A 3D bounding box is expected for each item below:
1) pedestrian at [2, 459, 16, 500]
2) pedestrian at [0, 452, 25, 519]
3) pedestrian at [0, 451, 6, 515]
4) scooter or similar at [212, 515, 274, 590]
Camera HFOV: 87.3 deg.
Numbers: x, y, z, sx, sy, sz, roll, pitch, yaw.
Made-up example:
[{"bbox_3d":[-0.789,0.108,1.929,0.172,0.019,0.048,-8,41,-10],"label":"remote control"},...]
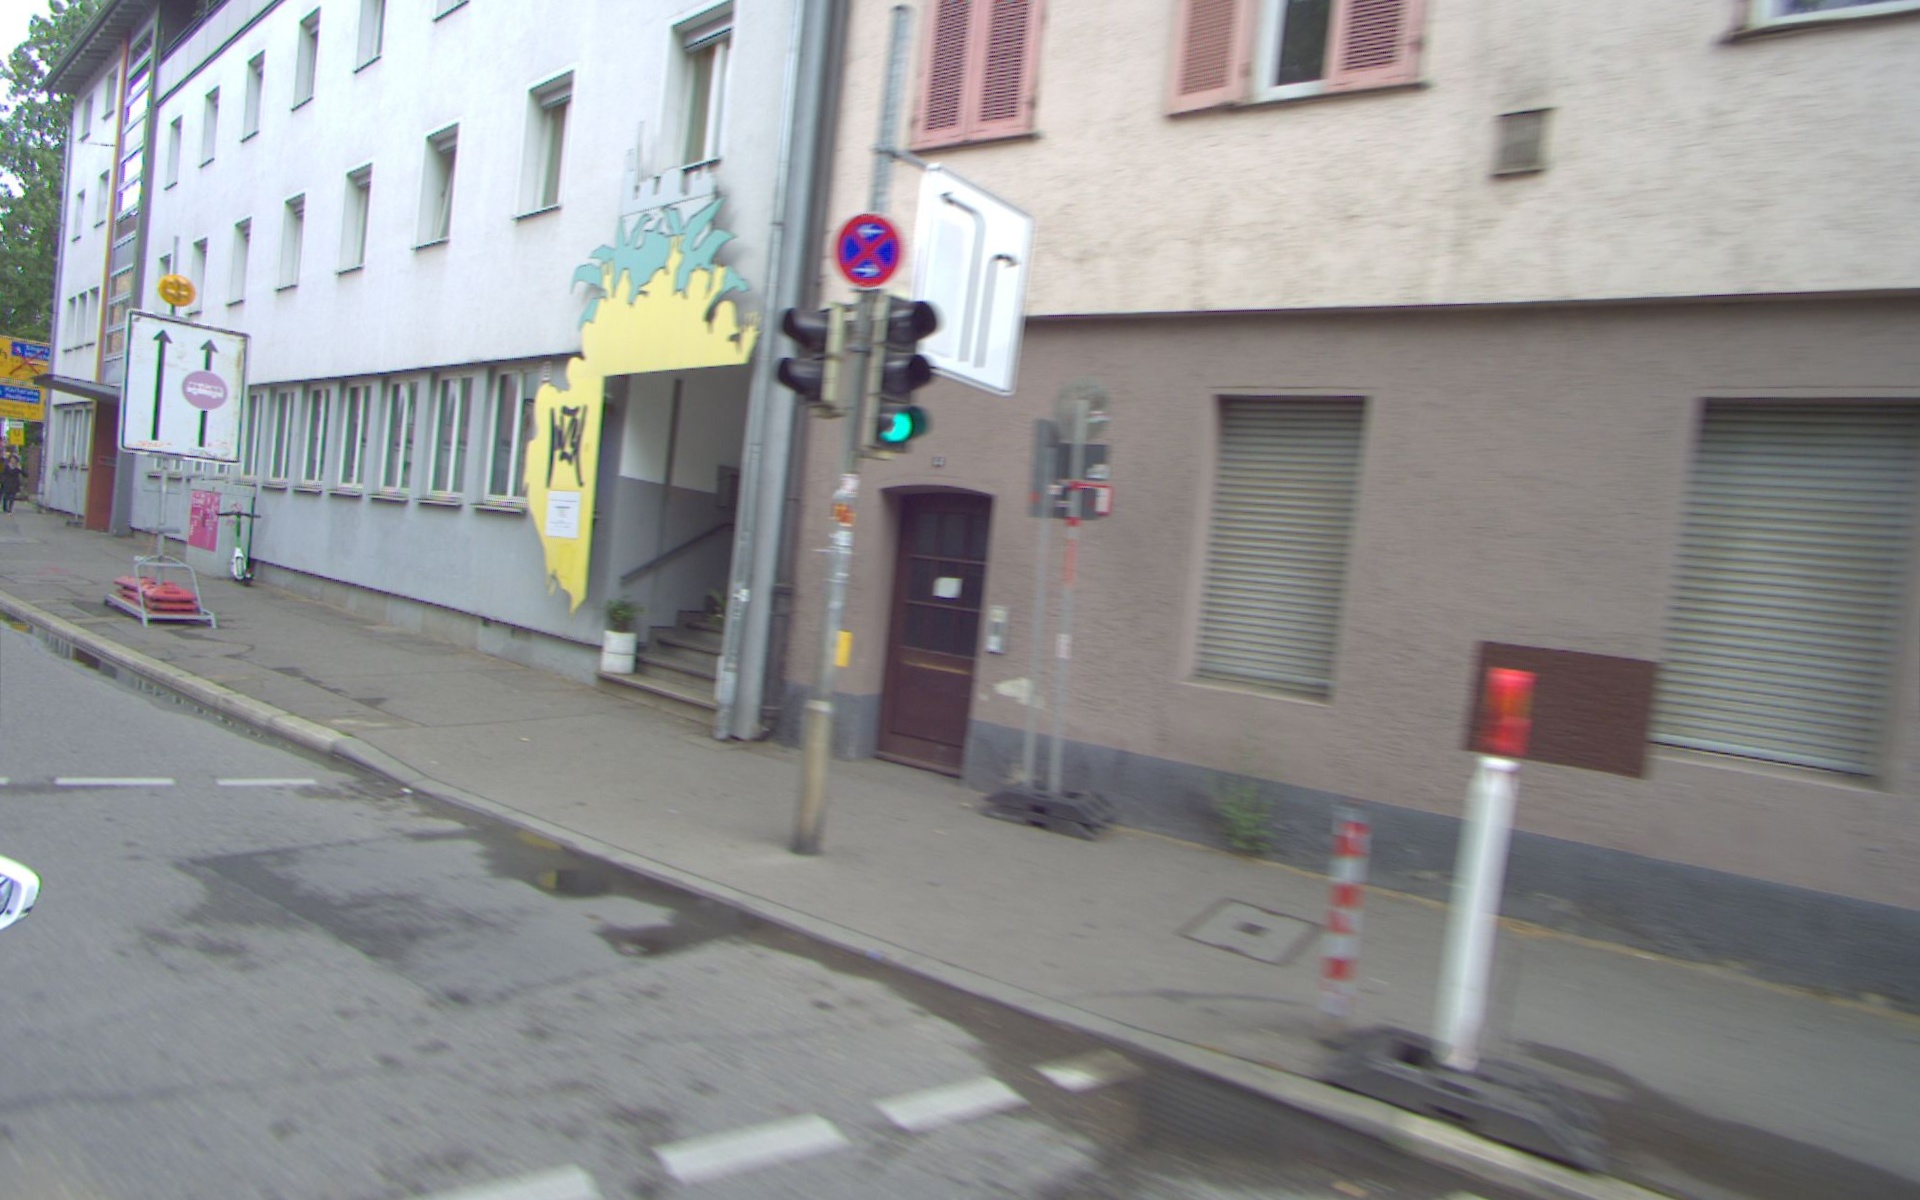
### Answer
[{"bbox_3d":[-43.368,-5.483,45.868,0.448,1.803,0.663,1,5,-44],"label":"pedestrian"},{"bbox_3d":[-26.496,-3.199,28.009,0.539,1.781,0.602,3,5,-37],"label":"pedestrian"},{"bbox_3d":[-27.521,-3.350,28.427,0.865,1.781,0.685,10,5,40],"label":"pedestrian"},{"bbox_3d":[-11.870,-0.795,16.640,1.418,1.112,0.427,8,4,39],"label":"scooter or similar"}]
